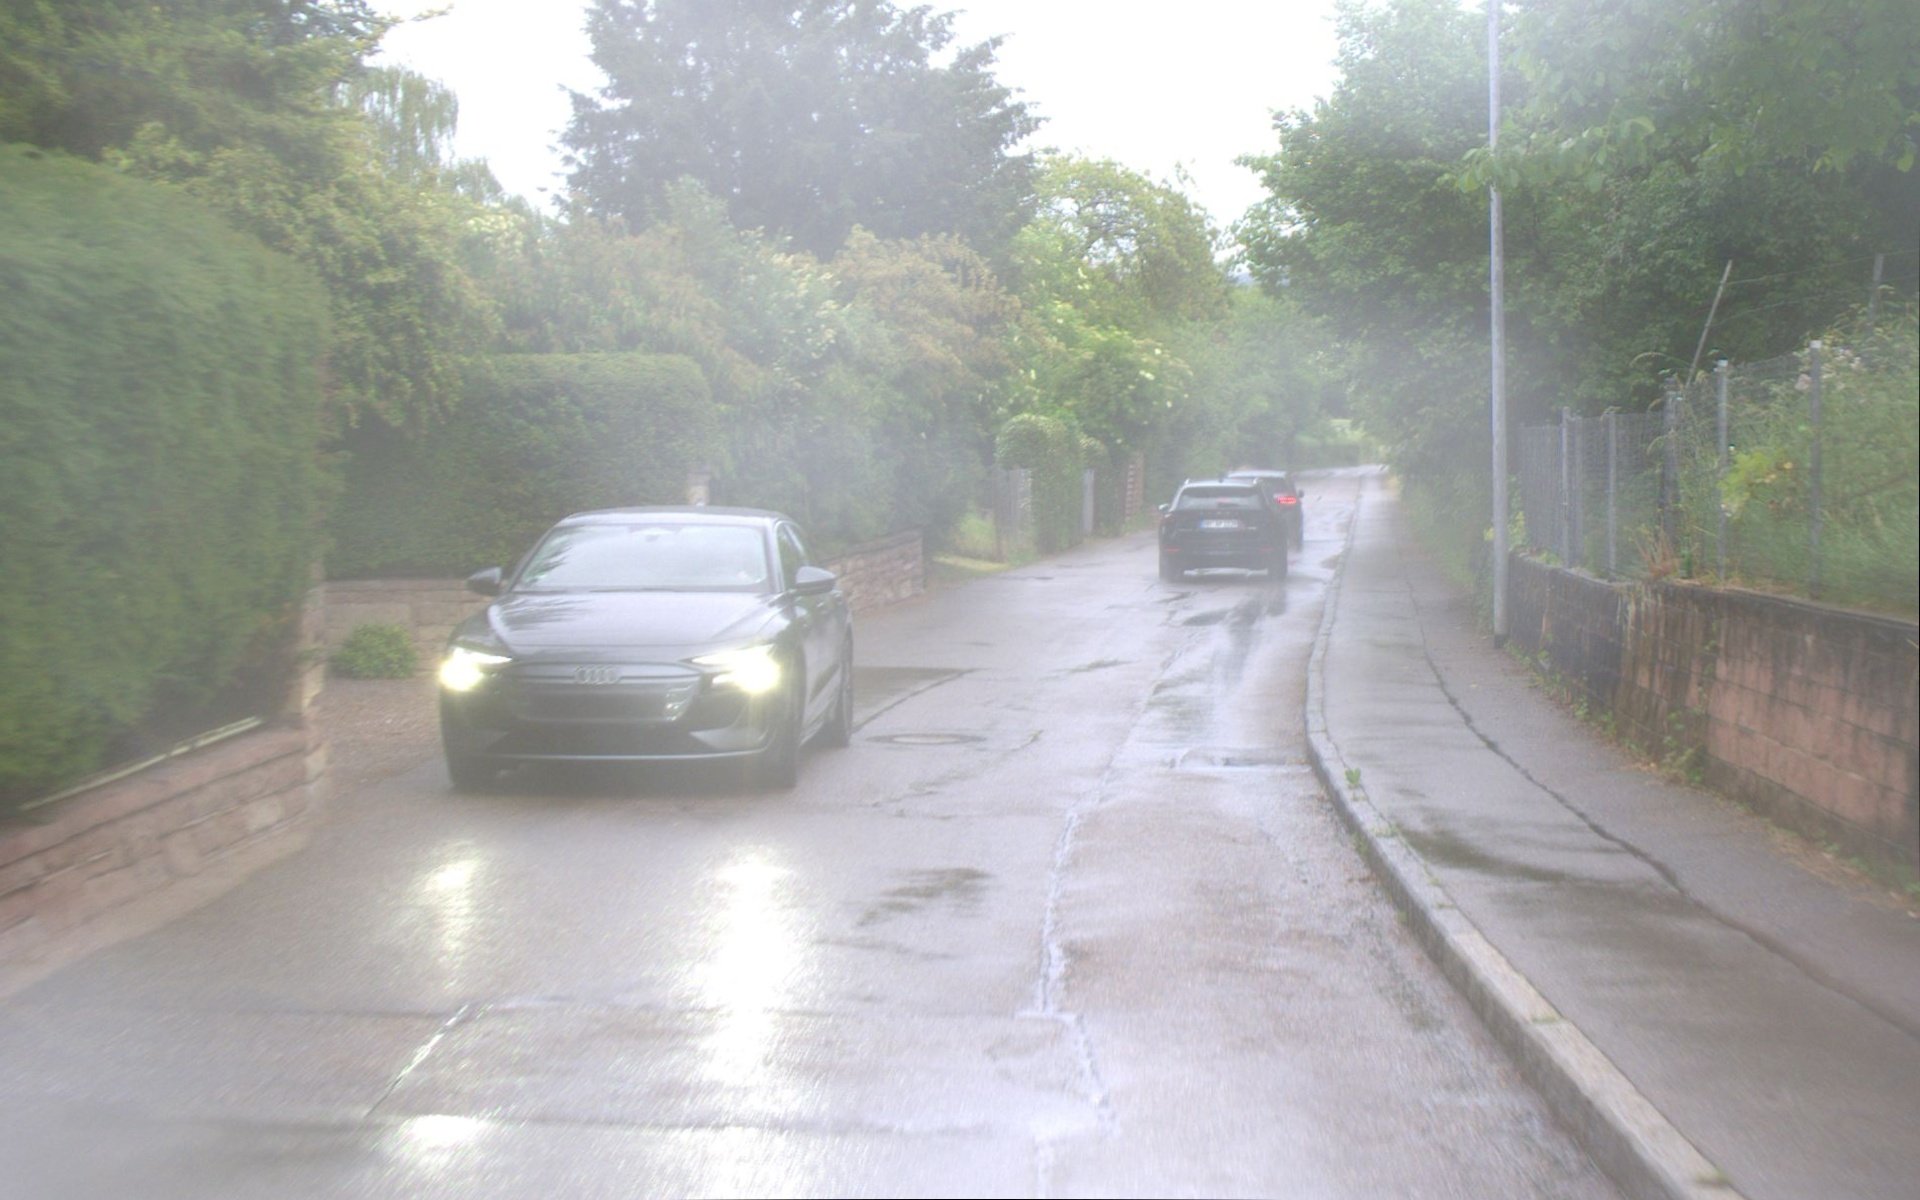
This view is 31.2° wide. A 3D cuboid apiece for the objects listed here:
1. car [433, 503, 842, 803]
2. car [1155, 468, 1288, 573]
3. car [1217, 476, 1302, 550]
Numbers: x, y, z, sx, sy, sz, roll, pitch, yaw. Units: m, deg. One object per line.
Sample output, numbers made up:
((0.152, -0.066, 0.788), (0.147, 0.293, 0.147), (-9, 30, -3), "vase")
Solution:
((-1.737, 0.211, 19.916), (1.888, 1.518, 4.422), (1, 2, 1), "car")
((3.774, -1.135, 49.184), (1.635, 1.445, 3.543), (1, 1, 8), "car")
((6.009, -1.734, 68.760), (1.635, 1.409, 3.544), (1, 1, 6), "car")
